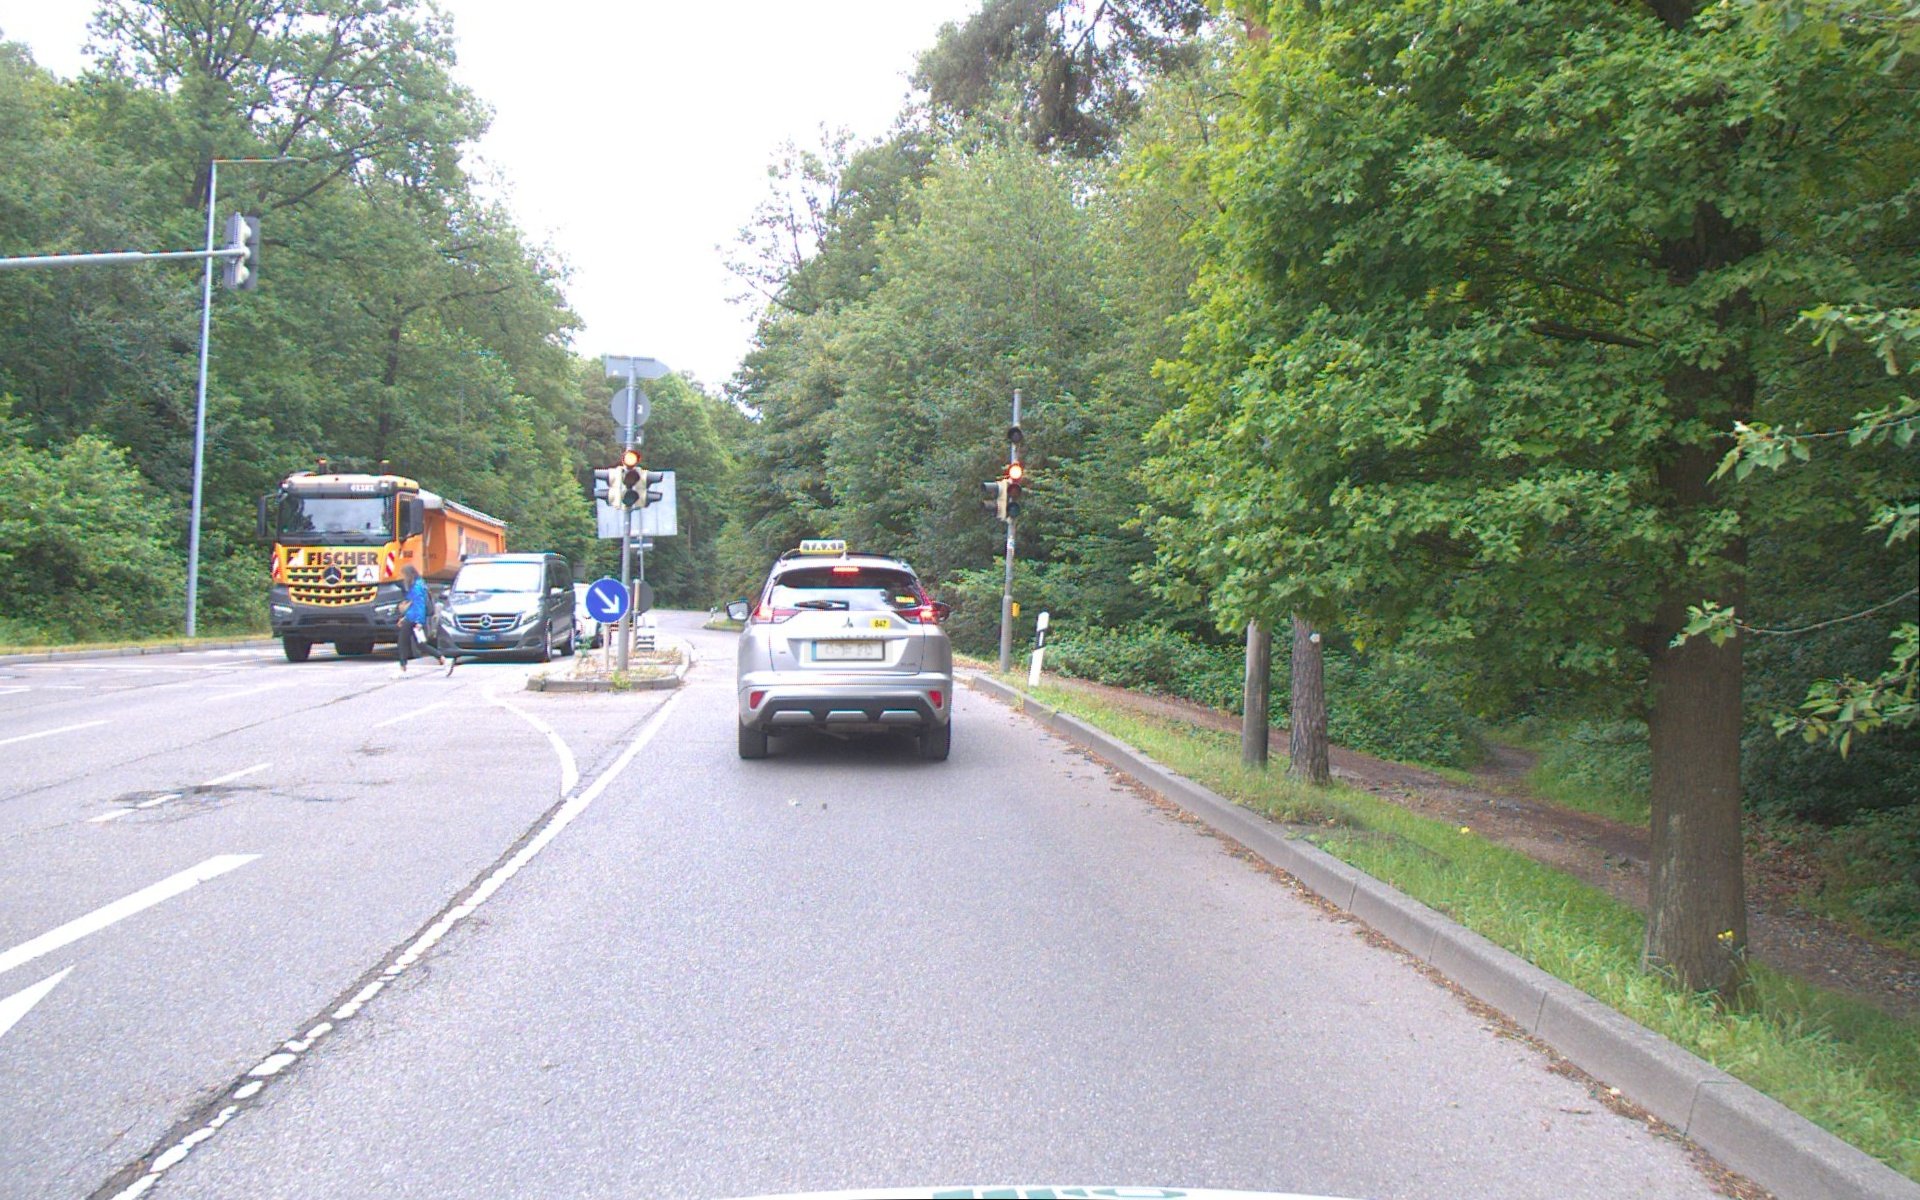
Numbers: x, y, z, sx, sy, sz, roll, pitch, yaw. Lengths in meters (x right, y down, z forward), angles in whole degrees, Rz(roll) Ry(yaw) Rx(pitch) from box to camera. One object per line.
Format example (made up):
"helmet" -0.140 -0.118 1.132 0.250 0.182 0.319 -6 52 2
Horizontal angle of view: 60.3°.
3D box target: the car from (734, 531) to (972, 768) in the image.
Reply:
"car" -1.019 0.348 14.760 1.811 1.811 3.995 1 1 -6

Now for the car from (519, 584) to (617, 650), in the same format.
"car" -8.805 0.347 37.392 1.581 1.344 3.718 -2 1 -5

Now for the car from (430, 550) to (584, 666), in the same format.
"car" -8.171 0.125 30.240 1.955 1.927 4.832 -1 0 -7

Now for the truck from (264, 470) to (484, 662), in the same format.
"truck" -11.384 -0.589 32.847 2.687 3.376 7.147 0 0 -8

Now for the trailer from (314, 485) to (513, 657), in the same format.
"trailer" -11.949 -0.565 36.981 2.687 3.376 8.553 0 0 -8

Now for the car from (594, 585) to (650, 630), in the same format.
"car" -12.445 0.269 61.125 1.778 1.534 3.714 -2 0 -8

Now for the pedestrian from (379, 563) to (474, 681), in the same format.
"pedestrian" -7.724 0.300 23.990 1.025 1.677 1.069 0 1 0
